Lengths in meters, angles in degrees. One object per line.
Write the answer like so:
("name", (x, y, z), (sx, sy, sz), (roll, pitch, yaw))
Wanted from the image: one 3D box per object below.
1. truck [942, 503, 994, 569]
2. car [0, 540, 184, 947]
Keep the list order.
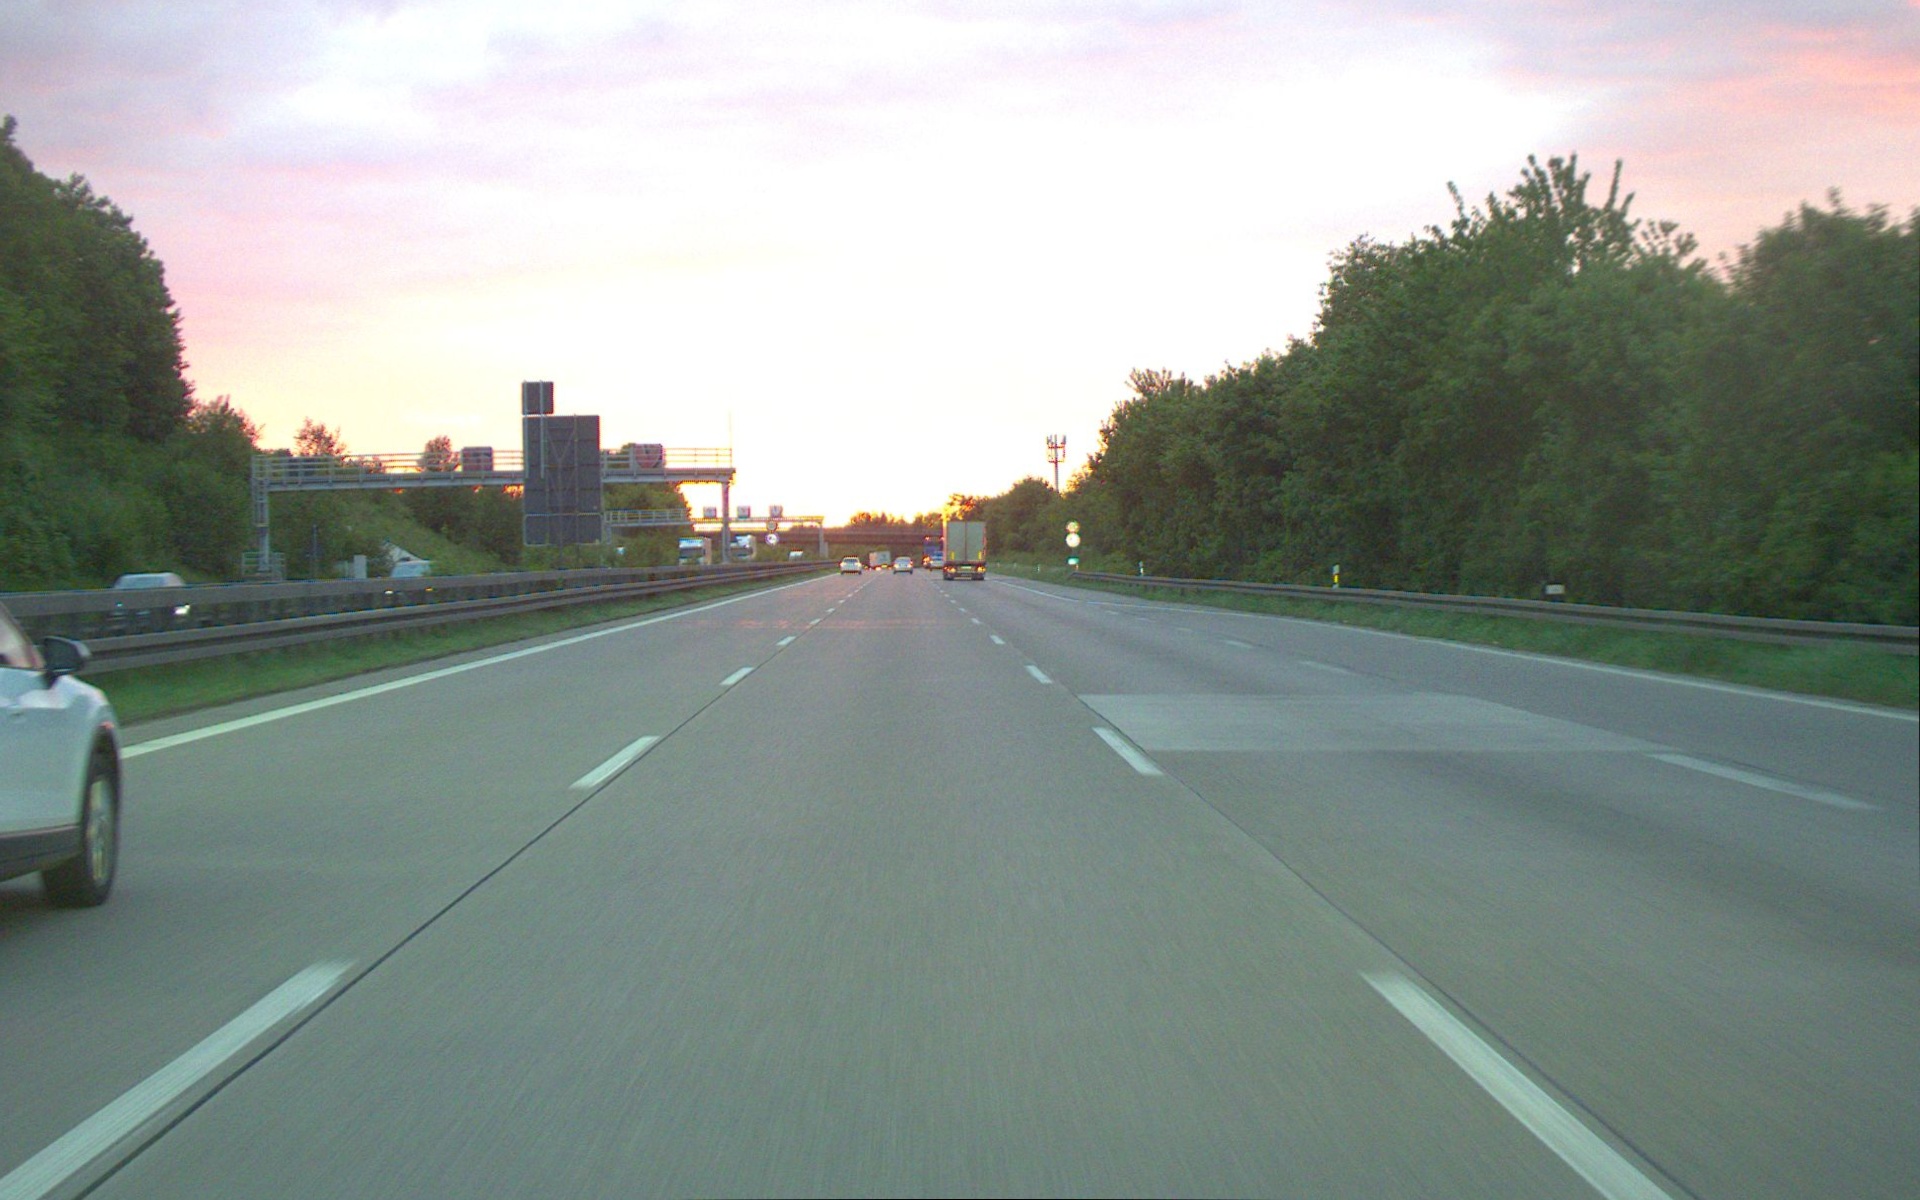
("truck", (0.481, -4.126, 223.060), (3.244, 4.113, 9.786), (-1, 0, 0))
("car", (-4.454, 0.509, 13.462), (1.789, 1.495, 5.038), (1, 1, -1))
